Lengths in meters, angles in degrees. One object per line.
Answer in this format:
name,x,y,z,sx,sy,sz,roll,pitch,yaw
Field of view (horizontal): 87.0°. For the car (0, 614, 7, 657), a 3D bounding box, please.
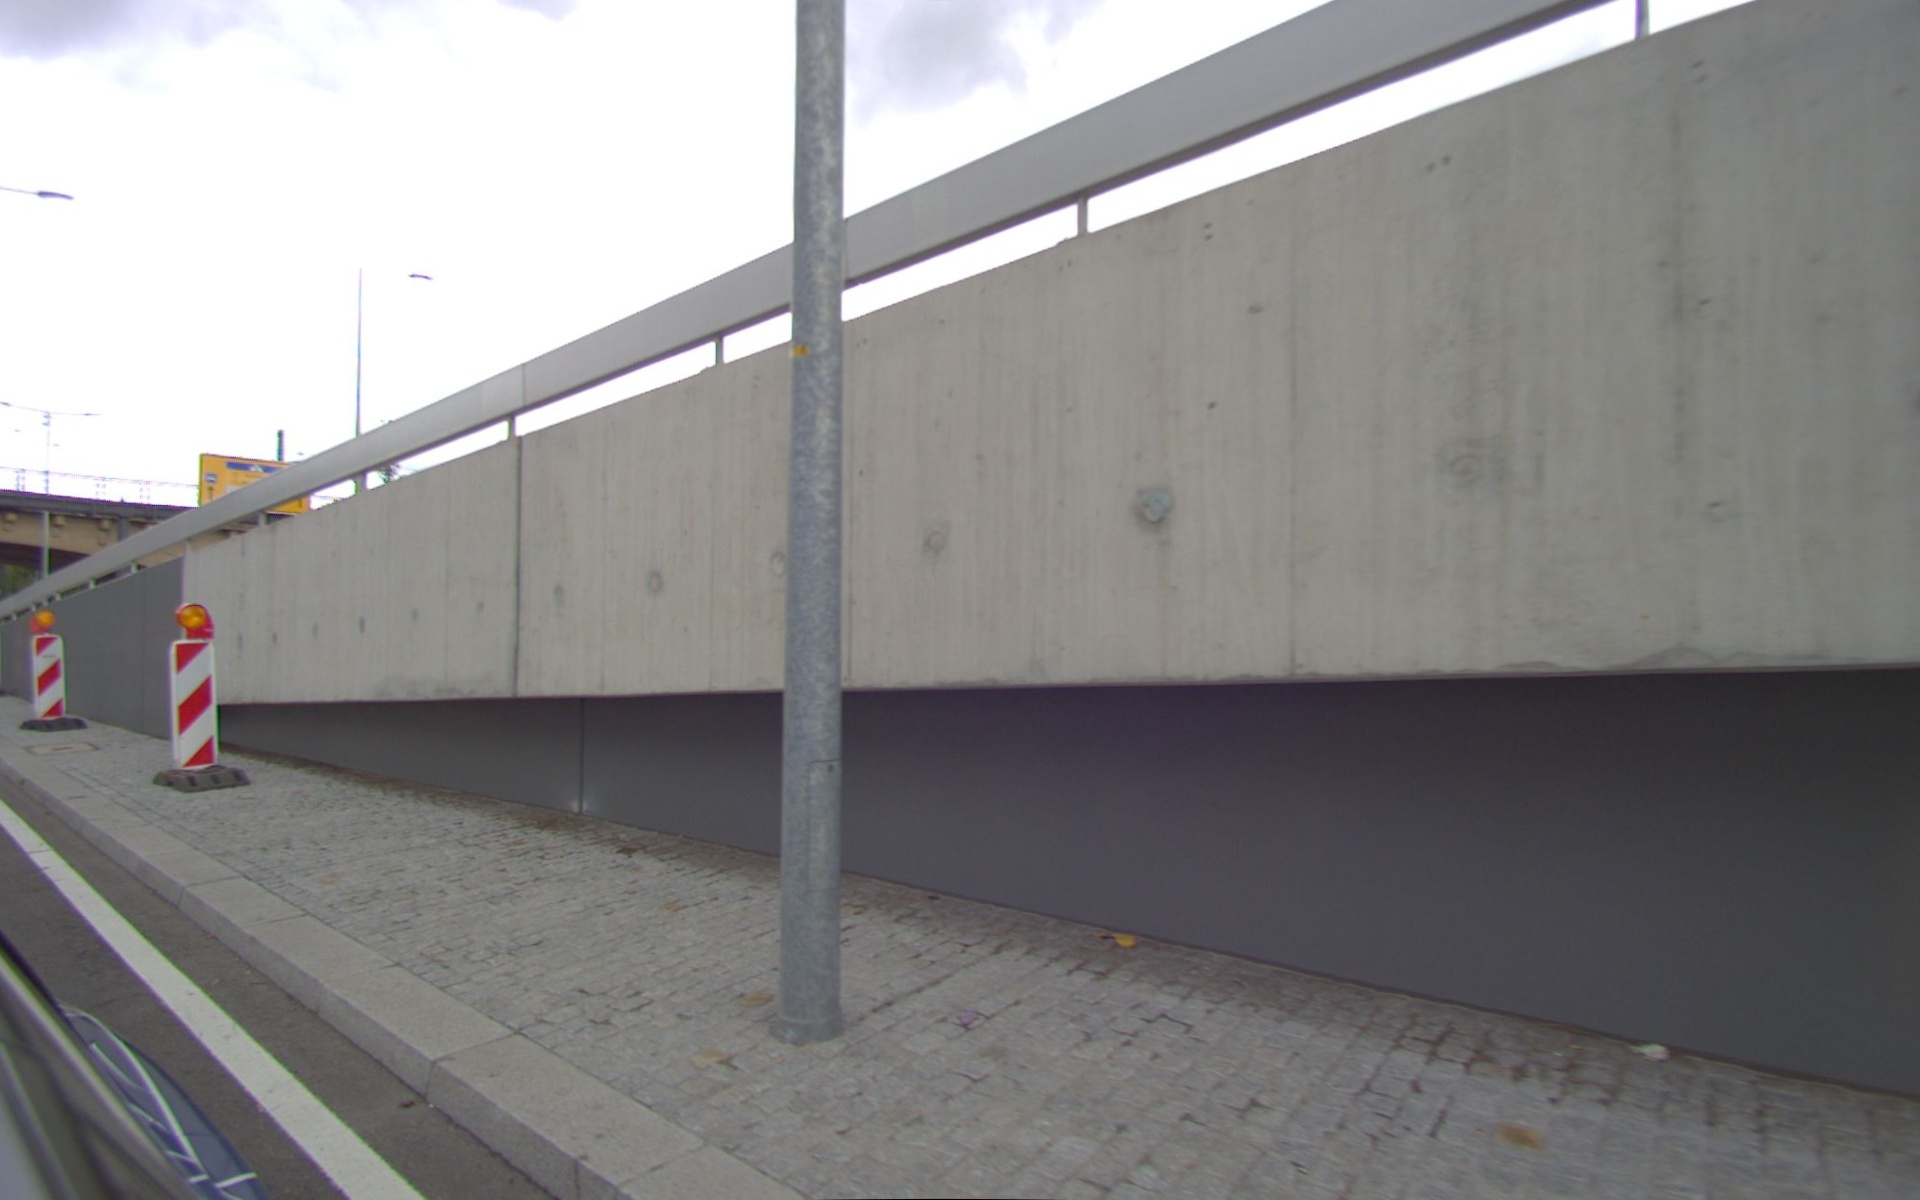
car,-44.075,1.573,44.764,4.192,1.852,1.848,-1,-1,33
